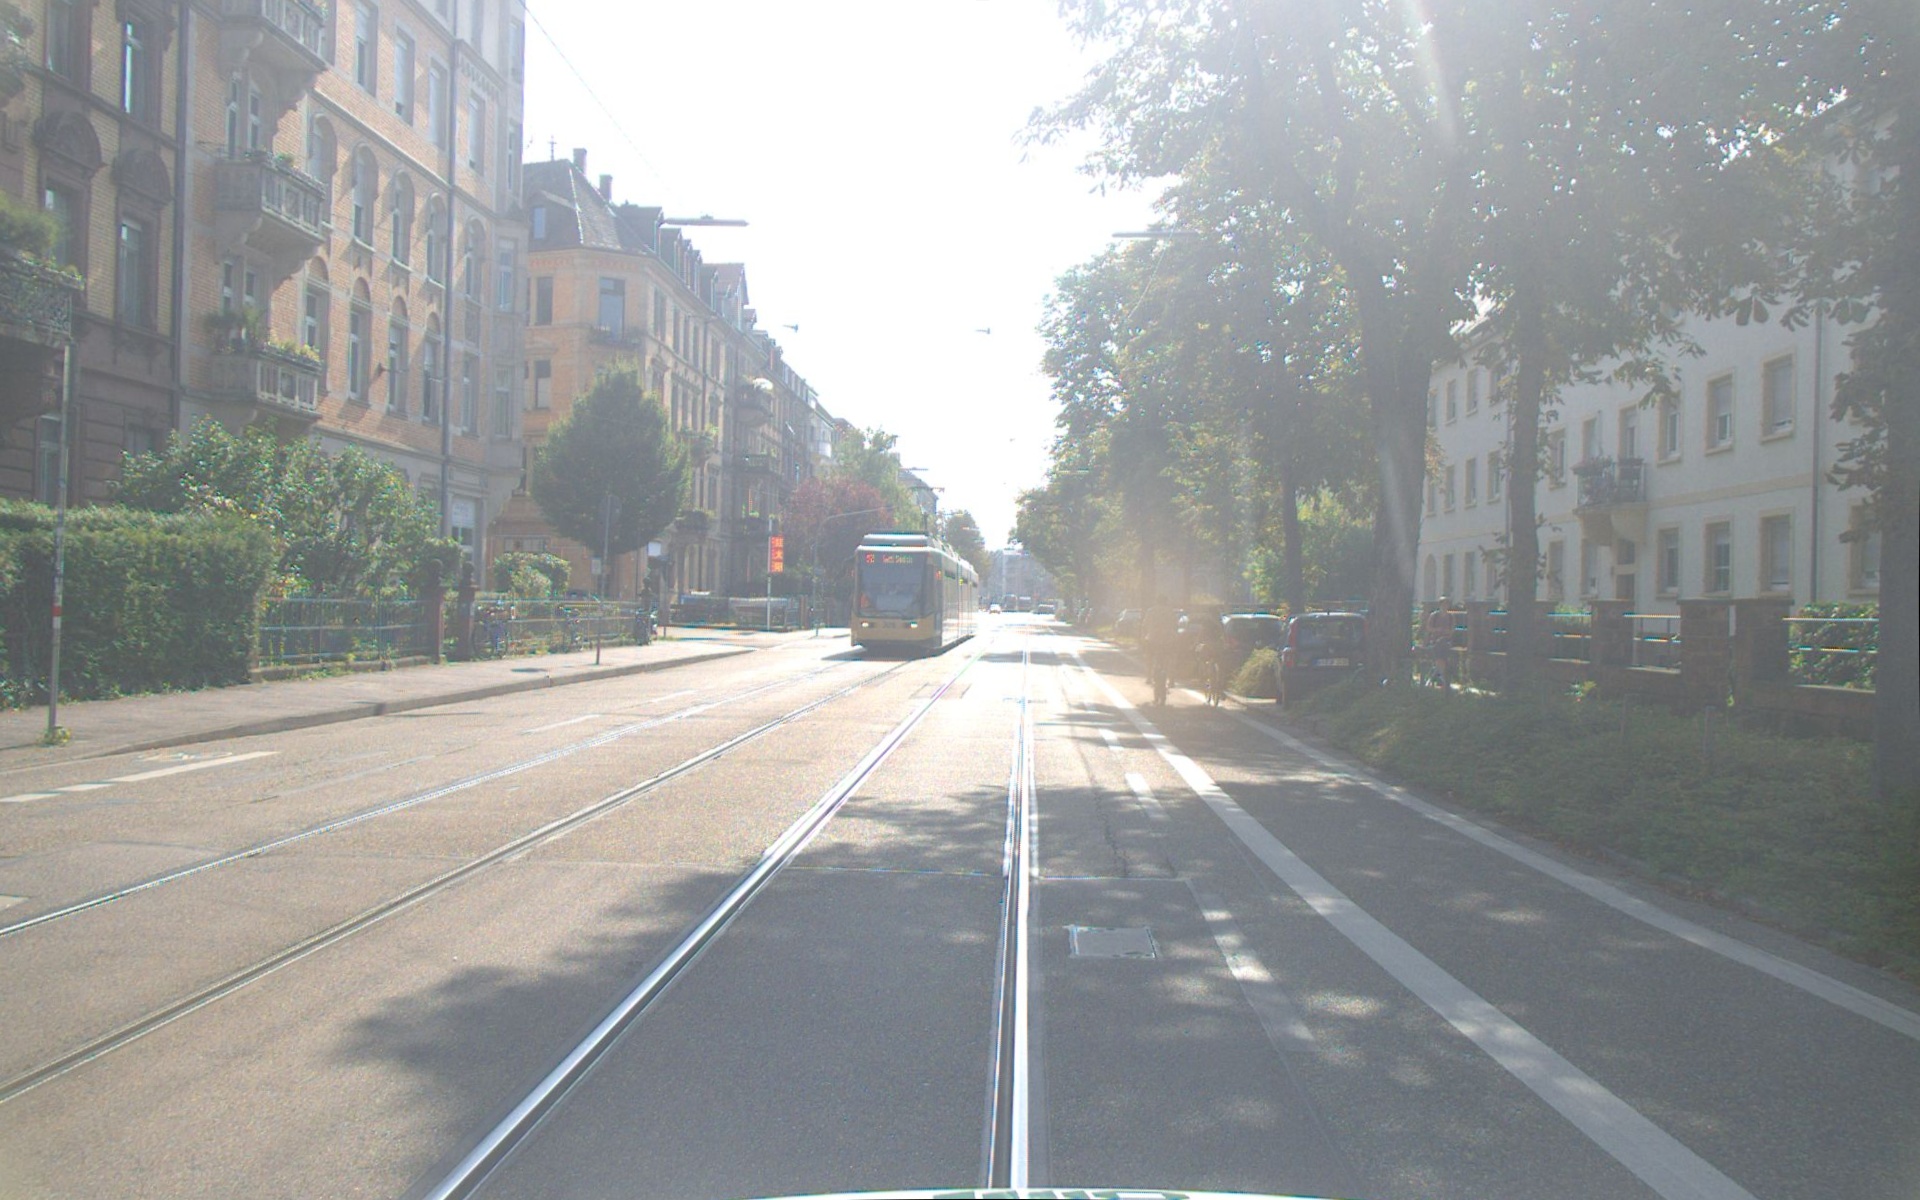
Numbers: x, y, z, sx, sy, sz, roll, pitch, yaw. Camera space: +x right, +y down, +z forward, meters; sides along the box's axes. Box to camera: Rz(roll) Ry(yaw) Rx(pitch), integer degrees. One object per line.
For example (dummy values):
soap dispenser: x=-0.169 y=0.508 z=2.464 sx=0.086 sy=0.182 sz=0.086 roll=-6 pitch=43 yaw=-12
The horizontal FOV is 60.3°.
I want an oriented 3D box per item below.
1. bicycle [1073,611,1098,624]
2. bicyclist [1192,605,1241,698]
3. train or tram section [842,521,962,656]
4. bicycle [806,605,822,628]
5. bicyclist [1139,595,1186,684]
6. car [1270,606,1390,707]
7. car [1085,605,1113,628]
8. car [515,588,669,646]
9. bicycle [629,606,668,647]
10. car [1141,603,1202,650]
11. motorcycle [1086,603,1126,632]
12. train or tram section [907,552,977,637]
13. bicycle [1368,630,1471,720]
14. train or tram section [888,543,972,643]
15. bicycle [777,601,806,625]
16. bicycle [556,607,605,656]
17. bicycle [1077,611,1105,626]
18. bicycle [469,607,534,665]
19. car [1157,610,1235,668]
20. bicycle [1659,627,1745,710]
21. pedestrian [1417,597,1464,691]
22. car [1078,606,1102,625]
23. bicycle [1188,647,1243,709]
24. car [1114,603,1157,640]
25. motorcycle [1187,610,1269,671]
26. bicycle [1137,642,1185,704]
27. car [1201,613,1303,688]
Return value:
bicycle: x=10.721 y=1.517 z=141.208 sx=2.063 sy=1.125 sz=0.616 roll=0 pitch=-1 yaw=1
bicyclist: x=4.288 y=0.848 z=27.707 sx=0.641 sy=1.499 sz=0.909 roll=3 pitch=0 yaw=1
train or tram section: x=-1.551 y=-0.303 z=52.245 sx=2.678 sy=3.567 sz=15.436 roll=2 pitch=0 yaw=2
bicycle: x=-7.149 y=0.805 z=81.204 sx=0.498 sy=1.127 sz=2.004 roll=1 pitch=0 yaw=3
bicyclist: x=3.350 y=0.643 z=27.448 sx=0.613 sy=1.425 sz=0.929 roll=3 pitch=0 yaw=1
car: x=6.096 y=0.890 z=27.584 sx=1.610 sy=1.567 sz=3.845 roll=-1 pitch=0 yaw=8
car: x=9.545 y=1.160 z=113.725 sx=1.691 sy=1.531 sz=3.985 roll=0 pitch=-1 yaw=2
car: x=-11.008 y=0.518 z=49.667 sx=4.051 sy=1.570 sz=2.065 roll=2 pitch=-1 yaw=1
bicycle: x=-8.674 y=0.719 z=46.116 sx=0.533 sy=1.076 sz=1.840 roll=5 pitch=0 yaw=4
car: x=7.185 y=0.890 z=56.429 sx=1.654 sy=1.528 sz=4.097 roll=-1 pitch=-1 yaw=2
motorcycle: x=8.645 y=1.013 z=97.914 sx=0.906 sy=1.703 sz=2.382 roll=-1 pitch=0 yaw=-43
train or tram section: x=-0.714 y=-0.220 z=76.147 sx=2.678 sy=3.567 sz=10.778 roll=2 pitch=0 yaw=2
bicycle: x=5.902 y=0.944 z=21.192 sx=0.516 sy=1.092 sz=1.717 roll=1 pitch=0 yaw=43
train or tram section: x=-1.061 y=-0.244 z=65.326 sx=2.678 sy=3.567 sz=10.778 roll=2 pitch=0 yaw=2
bicycle: x=-8.162 y=0.616 z=80.213 sx=1.330 sy=1.078 sz=0.417 roll=3 pitch=-1 yaw=-1
bicycle: x=-8.947 y=0.730 z=39.094 sx=0.533 sy=1.076 sz=1.840 roll=5 pitch=0 yaw=4
bicycle: x=10.084 y=1.401 z=127.082 sx=2.065 sy=1.125 sz=0.562 roll=1 pitch=-1 yaw=-5
bicycle: x=-9.170 y=0.700 z=33.162 sx=0.594 sy=1.076 sz=1.840 roll=5 pitch=0 yaw=4
car: x=6.556 y=1.056 z=46.292 sx=1.654 sy=1.460 sz=4.337 roll=-2 pitch=0 yaw=2
bicycle: x=10.539 y=0.951 z=23.537 sx=0.512 sy=1.092 sz=1.729 roll=2 pitch=0 yaw=3
pedestrian: x=9.364 y=0.843 z=32.288 sx=0.736 sy=1.779 sz=0.879 roll=1 pitch=0 yaw=9
car: x=10.260 y=1.237 z=130.741 sx=1.735 sy=1.499 sz=3.975 roll=1 pitch=-1 yaw=3
bicycle: x=4.265 y=1.289 z=27.719 sx=0.641 sy=0.924 sz=1.775 roll=3 pitch=0 yaw=2
car: x=7.964 y=0.959 z=75.380 sx=1.707 sy=1.588 sz=4.720 roll=1 pitch=0 yaw=3
motorcycle: x=6.416 y=0.961 z=39.600 sx=1.816 sy=1.312 sz=0.705 roll=-2 pitch=5 yaw=-1
bicycle: x=3.326 y=1.199 z=27.434 sx=0.613 sy=0.924 sz=1.525 roll=3 pitch=0 yaw=2
car: x=6.173 y=1.031 z=35.363 sx=1.611 sy=1.473 sz=4.247 roll=-1 pitch=0 yaw=3
